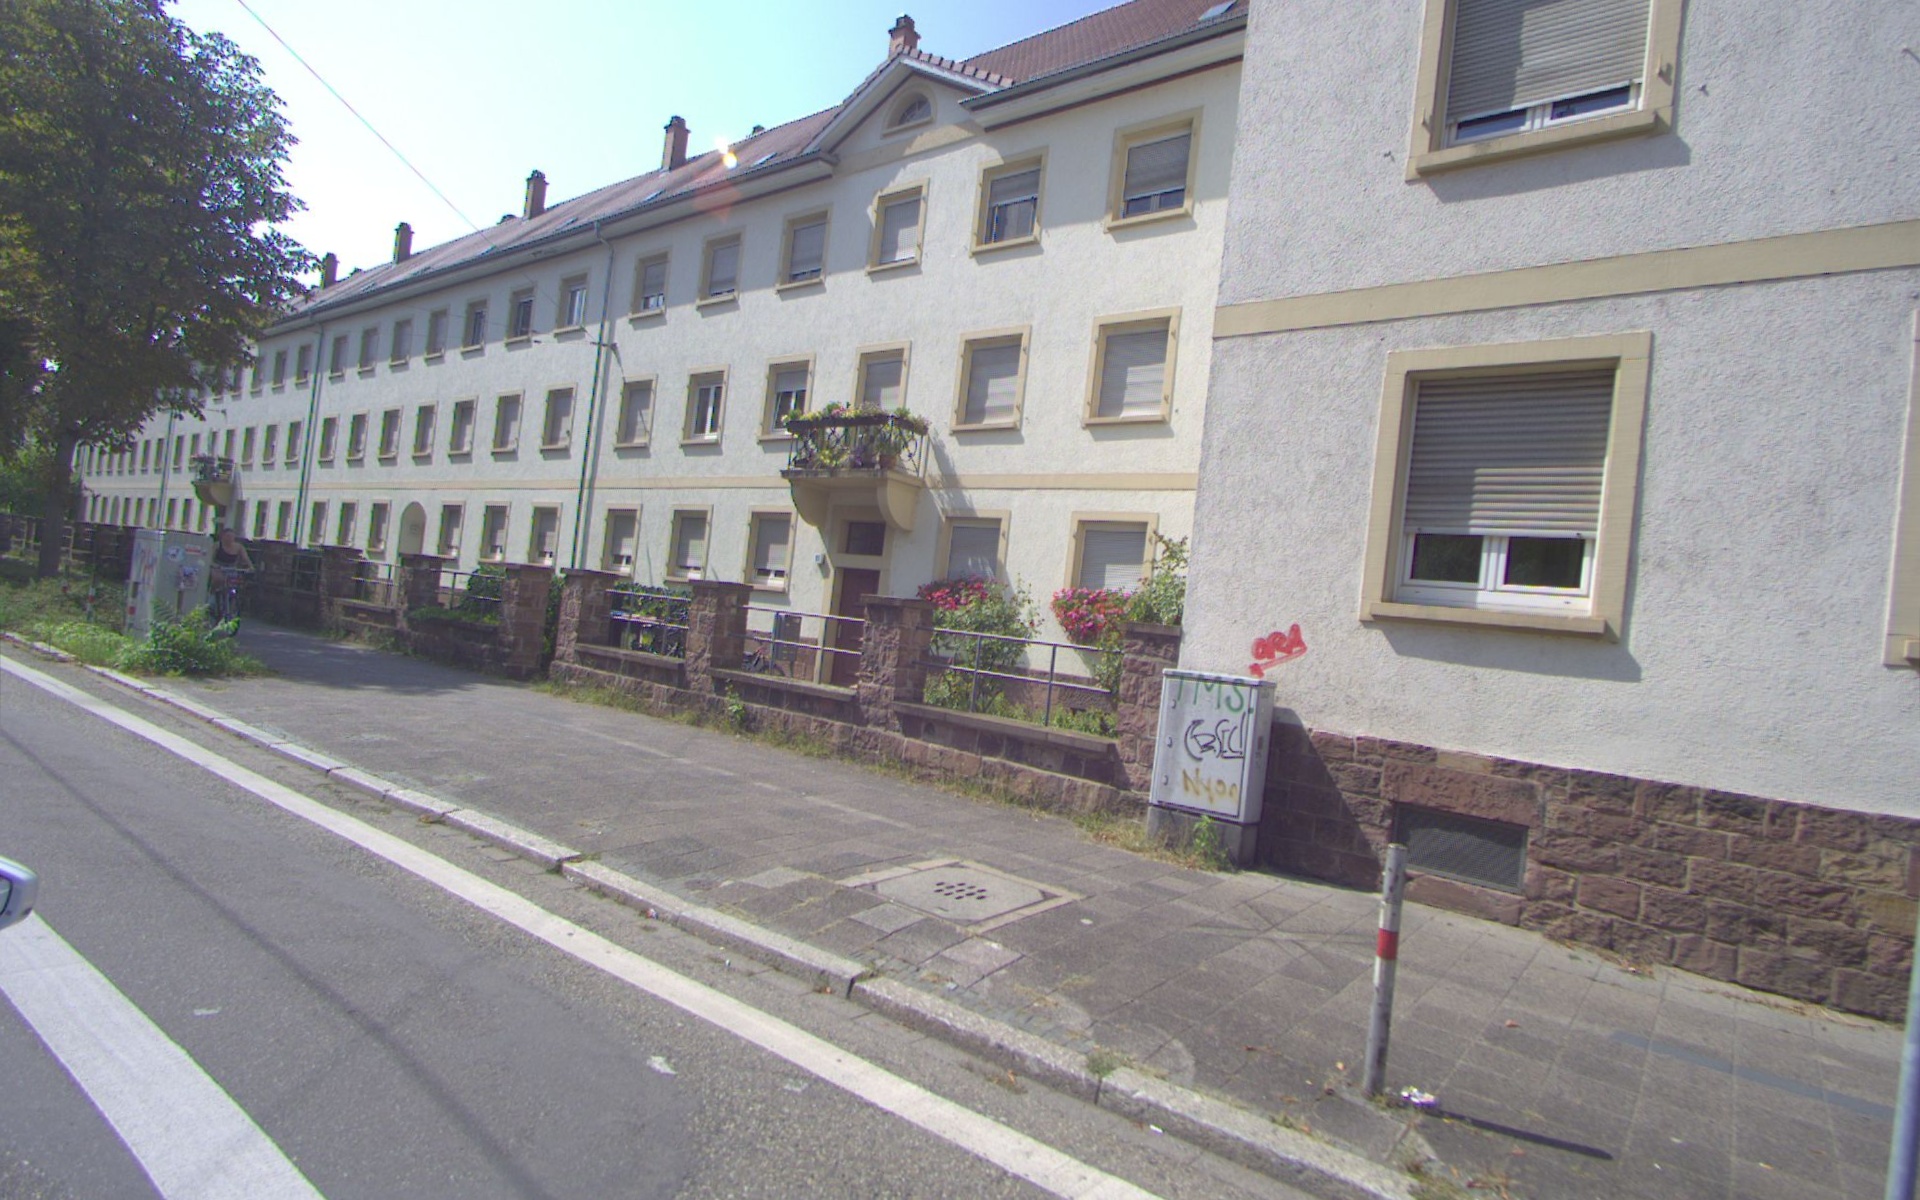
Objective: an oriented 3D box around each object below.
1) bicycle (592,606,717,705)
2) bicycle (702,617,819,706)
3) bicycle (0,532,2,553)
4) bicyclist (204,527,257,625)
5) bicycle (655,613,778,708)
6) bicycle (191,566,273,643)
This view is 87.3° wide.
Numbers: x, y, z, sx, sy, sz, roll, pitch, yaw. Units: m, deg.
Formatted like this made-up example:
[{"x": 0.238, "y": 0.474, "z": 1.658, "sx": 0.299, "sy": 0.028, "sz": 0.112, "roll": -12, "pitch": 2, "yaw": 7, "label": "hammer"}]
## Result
[{"x": -3.935, "y": 0.693, "z": 12.877, "sx": 1.801, "sy": 1.059, "sz": 0.440, "roll": 5, "pitch": -2, "yaw": 36, "label": "bicycle"}, {"x": -2.880, "y": 0.864, "z": 14.391, "sx": 1.801, "sy": 1.059, "sz": 0.440, "roll": 5, "pitch": -2, "yaw": 36, "label": "bicycle"}, {"x": -23.347, "y": -1.126, "z": 23.529, "sx": 0.382, "sy": 1.121, "sz": 1.394, "roll": 6, "pitch": -2, "yaw": 4, "label": "bicycle"}, {"x": -11.810, "y": -0.386, "z": 16.282, "sx": 0.464, "sy": 1.529, "sz": 0.437, "roll": 6, "pitch": -1, "yaw": 36, "label": "bicyclist"}, {"x": -3.275, "y": 0.791, "z": 13.456, "sx": 1.801, "sy": 1.059, "sz": 0.440, "roll": 5, "pitch": -2, "yaw": 36, "label": "bicycle"}, {"x": -11.718, "y": 0.060, "z": 16.168, "sx": 1.801, "sy": 1.059, "sz": 0.440, "roll": 5, "pitch": -2, "yaw": 36, "label": "bicycle"}]
